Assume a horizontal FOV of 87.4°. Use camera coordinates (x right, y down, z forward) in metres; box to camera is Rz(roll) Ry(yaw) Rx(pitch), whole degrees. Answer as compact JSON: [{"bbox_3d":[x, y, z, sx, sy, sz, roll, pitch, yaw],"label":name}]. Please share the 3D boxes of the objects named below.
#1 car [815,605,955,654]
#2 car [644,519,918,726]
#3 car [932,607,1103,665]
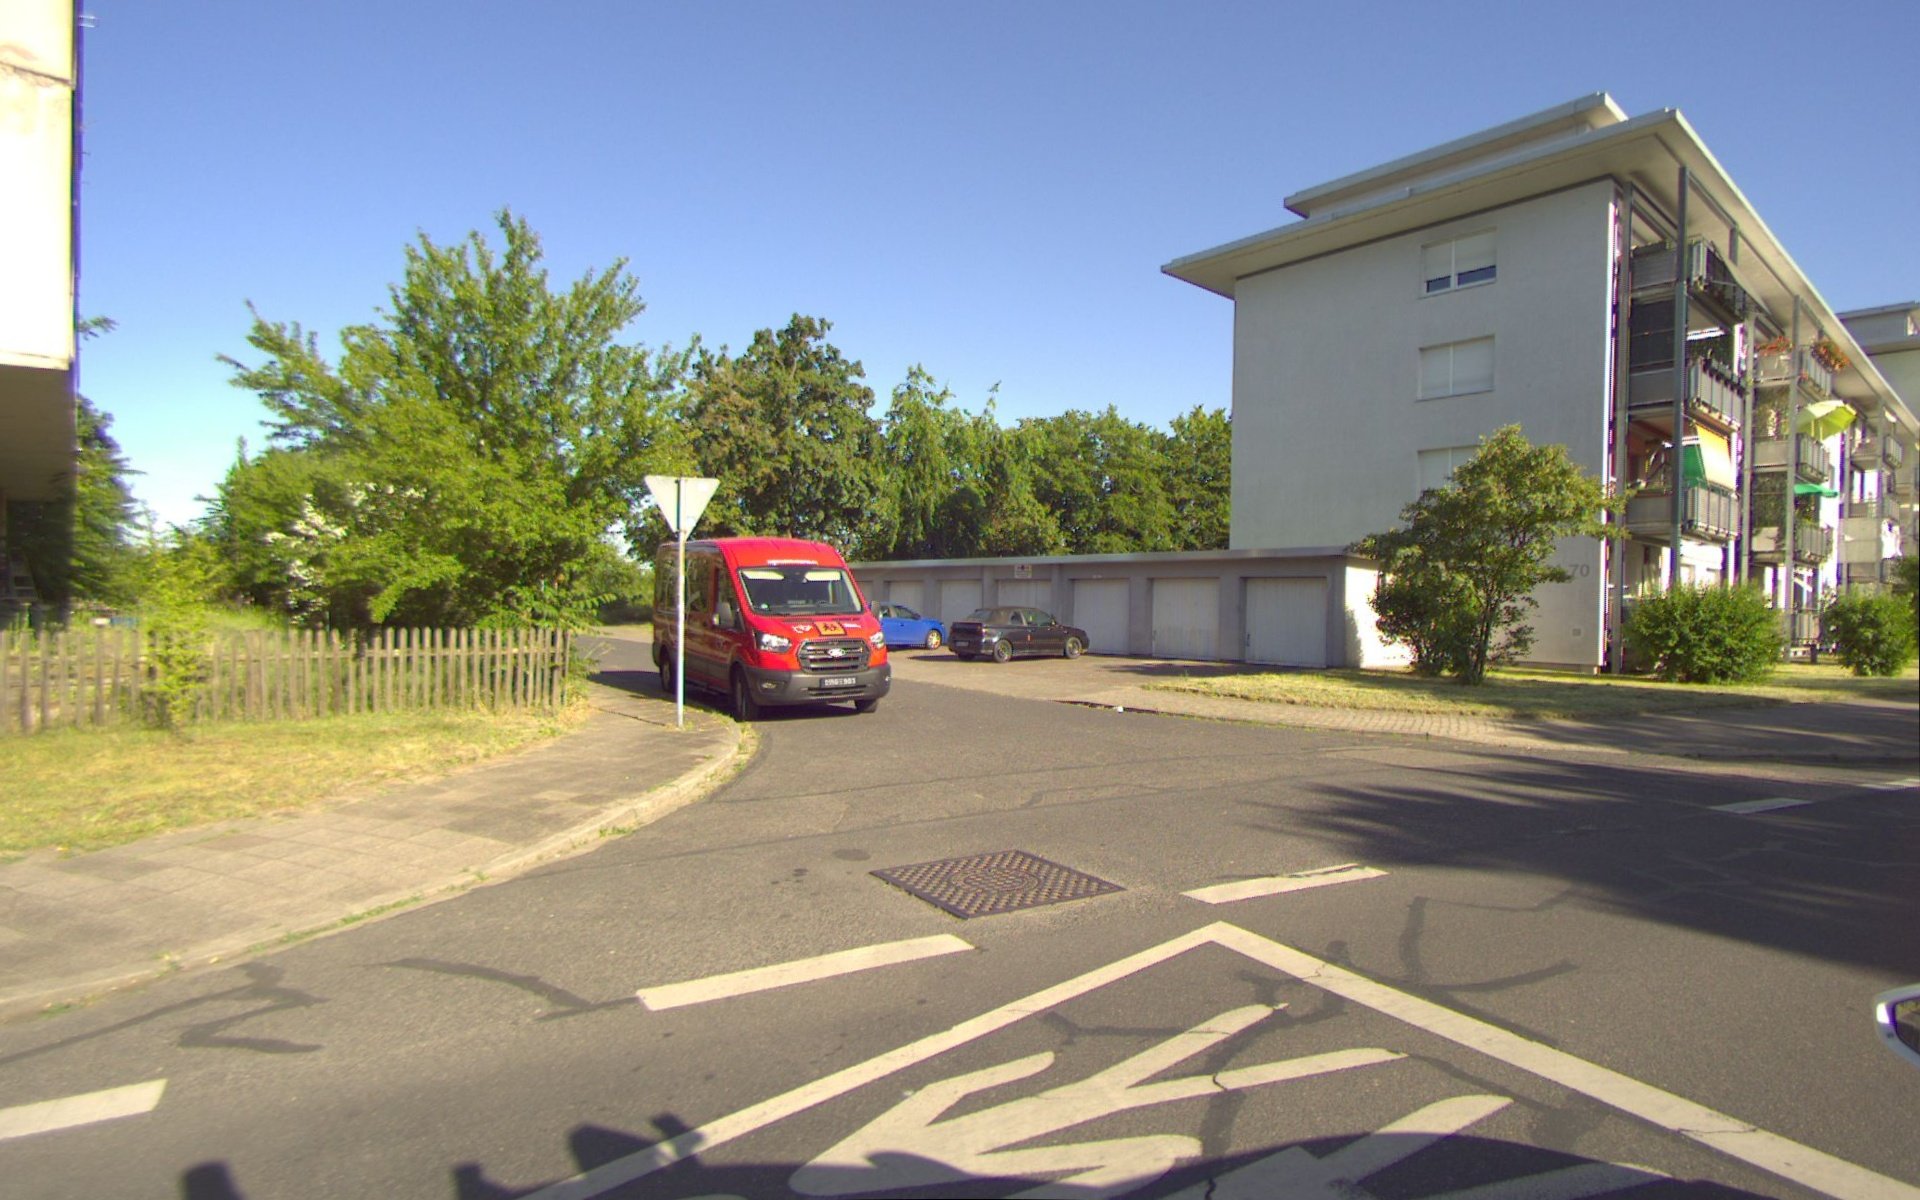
[{"bbox_3d":[-2.257,0.886,30.806,4.001,1.407,1.824,2,-1,-42],"label":"car"},{"bbox_3d":[-2.953,0.286,15.054,2.187,2.461,5.876,-1,0,-30],"label":"car"},{"bbox_3d":[1.572,0.889,26.548,4.328,1.375,1.938,0,0,-38],"label":"car"}]
